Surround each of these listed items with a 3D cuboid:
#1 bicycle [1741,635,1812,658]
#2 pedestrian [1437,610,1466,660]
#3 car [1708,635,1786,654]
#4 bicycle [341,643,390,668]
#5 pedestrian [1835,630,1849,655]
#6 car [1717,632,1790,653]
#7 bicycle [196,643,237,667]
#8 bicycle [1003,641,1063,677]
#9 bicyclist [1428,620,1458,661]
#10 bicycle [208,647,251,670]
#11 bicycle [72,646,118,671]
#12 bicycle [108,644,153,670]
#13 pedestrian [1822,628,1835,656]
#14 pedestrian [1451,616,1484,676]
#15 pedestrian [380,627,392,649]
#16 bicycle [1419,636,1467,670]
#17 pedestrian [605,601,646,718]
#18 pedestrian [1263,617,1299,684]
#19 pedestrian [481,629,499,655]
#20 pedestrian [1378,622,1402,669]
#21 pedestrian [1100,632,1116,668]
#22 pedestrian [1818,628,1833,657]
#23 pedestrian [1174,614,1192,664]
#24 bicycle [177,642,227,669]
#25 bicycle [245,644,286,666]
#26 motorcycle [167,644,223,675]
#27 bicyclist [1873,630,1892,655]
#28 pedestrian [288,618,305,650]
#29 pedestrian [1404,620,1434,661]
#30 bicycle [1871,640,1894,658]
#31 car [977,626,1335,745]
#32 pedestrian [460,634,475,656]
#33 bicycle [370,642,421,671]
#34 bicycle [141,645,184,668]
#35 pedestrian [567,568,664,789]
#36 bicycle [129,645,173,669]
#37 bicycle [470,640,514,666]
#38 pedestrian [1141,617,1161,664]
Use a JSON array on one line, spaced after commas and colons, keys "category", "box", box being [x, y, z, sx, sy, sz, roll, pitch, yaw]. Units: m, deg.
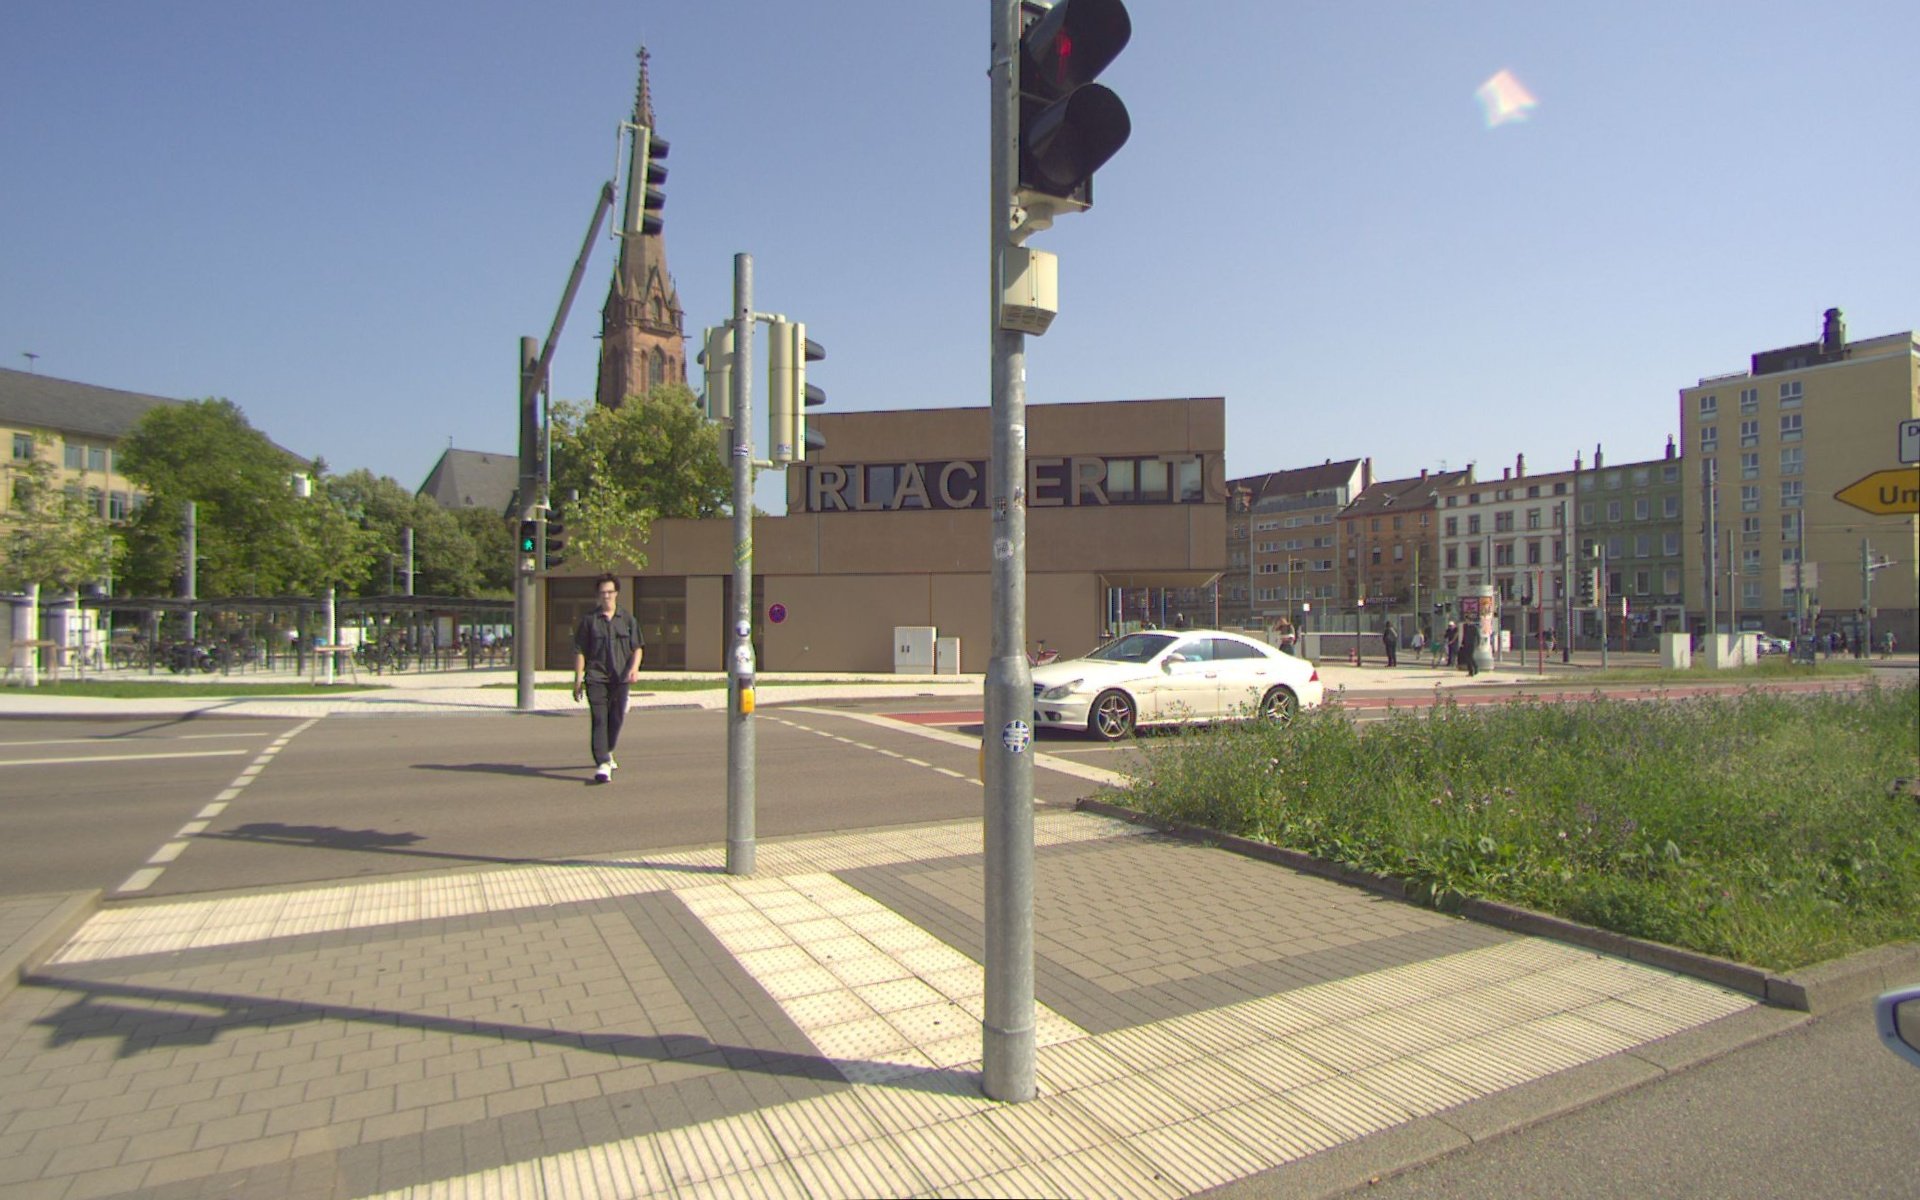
[{"category": "bicycle", "box": [61.097, 3.462, 75.199, 1.183, 1.572, 3.962, -2, 0, -34]}, {"category": "pedestrian", "box": [18.803, 1.342, 38.430, 0.867, 1.843, 0.893, -2, 0, 34]}, {"category": "car", "box": [52.764, 2.972, 67.394, 1.557, 1.195, 3.813, 4, -3, -29]}, {"category": "bicycle", "box": [-23.804, 2.217, 40.214, 1.837, 1.022, 0.462, -1, -2, 12]}, {"category": "pedestrian", "box": [53.994, 2.626, 61.508, 0.489, 1.507, 0.440, -2, 0, 19]}, {"category": "car", "box": [55.021, 2.933, 69.714, 1.569, 1.411, 3.717, 1, -2, -32]}, {"category": "bicycle", "box": [-30.634, 2.270, 41.395, 1.556, 0.990, 0.453, -1, 0, 12]}, {"category": "bicycle", "box": [2.008, 1.618, 27.649, 1.580, 0.968, 0.661, 0, 0, 10]}, {"category": "bicyclist", "box": [16.913, 1.407, 35.165, 0.872, 1.380, 0.560, -2, 2, -29]}, {"category": "bicycle", "box": [-28.816, 2.292, 39.617, 1.556, 0.904, 0.410, -1, -2, 12]}, {"category": "bicycle", "box": [-31.490, 2.138, 36.584, 1.556, 0.904, 0.401, 0, -2, 12]}, {"category": "bicycle", "box": [-31.245, 2.143, 37.831, 1.556, 0.980, 0.422, -1, -2, 12]}, {"category": "pedestrian", "box": [53.350, 2.570, 61.715, 0.447, 1.707, 0.440, -2, 0, 19]}, {"category": "pedestrian", "box": [15.544, 1.407, 30.779, 0.832, 1.802, 0.876, -2, 0, 25]}, {"category": "pedestrian", "box": [-32.570, 2.168, 57.014, 0.375, 1.240, 0.440, -2, 0, 13]}, {"category": "bicycle", "box": [16.931, 1.842, 35.186, 1.828, 1.078, 0.559, -2, 1, -29]}, {"category": "pedestrian", "box": [-5.444, 0.959, 16.371, 0.561, 1.857, 0.693, 0, -1, -14]}, {"category": "pedestrian", "box": [8.719, 1.368, 27.252, 0.668, 1.783, 0.875, -1, -2, 36]}, {"category": "pedestrian", "box": [-25.447, 2.286, 54.407, 0.631, 1.413, 0.662, 0, -2, 10]}, {"category": "pedestrian", "box": [14.978, 1.562, 34.985, 0.500, 1.601, 0.497, -2, 0, -18]}, {"category": "pedestrian", "box": [5.025, 1.692, 34.025, 0.513, 1.187, 0.596, 0, -2, 10]}, {"category": "pedestrian", "box": [52.597, 2.572, 61.052, 0.539, 1.707, 0.454, -2, 0, -21]}, {"category": "pedestrian", "box": [8.234, 1.425, 37.081, 0.547, 1.843, 0.392, 0, -1, -7]}, {"category": "bicycle", "box": [-29.168, 2.135, 38.658, 1.679, 1.000, 0.534, -1, -2, 12]}, {"category": "bicycle", "box": [-28.250, 2.242, 40.881, 1.556, 0.904, 0.410, -1, -2, 12]}, {"category": "motorcycle", "box": [-26.138, 2.036, 34.334, 1.710, 1.022, 0.543, -1, -2, 12]}, {"category": "bicyclist", "box": [54.440, 2.522, 59.275, 0.683, 1.453, 0.720, 1, -2, -37]}, {"category": "pedestrian", "box": [-37.380, 1.926, 56.563, 0.384, 1.771, 0.713, -2, -2, 44]}, {"category": "pedestrian", "box": [23.241, 2.031, 50.885, 1.010, 2.040, 0.953, -2, 0, -33]}, {"category": "bicycle", "box": [54.395, 2.872, 59.229, 1.716, 0.997, 0.722, 1, -2, -37]}, {"category": "car", "box": [2.770, 1.120, 13.931, 4.757, 1.379, 1.835, 2, -1, -27]}, {"category": "pedestrian", "box": [-26.932, 2.467, 54.886, 0.562, 1.213, 0.468, -1, -2, 13]}, {"category": "bicycle", "box": [-20.048, 2.001, 35.676, 1.710, 1.022, 0.401, -1, -2, 12]}, {"category": "bicycle", "box": [-31.101, 2.204, 39.150, 1.556, 0.904, 0.410, -1, -2, 12]}, {"category": "pedestrian", "box": [-3.150, 0.674, 9.136, 0.720, 1.864, 1.076, 1, -1, -24]}, {"category": "bicycle", "box": [-31.054, 2.178, 38.554, 1.556, 0.904, 0.401, -1, -2, 12]}, {"category": "bicycle", "box": [-18.986, 2.153, 40.749, 1.710, 1.022, 0.401, -1, -2, 12]}, {"category": "pedestrian", "box": [7.197, 1.527, 37.856, 0.595, 1.718, 0.533, -2, 0, 1]}]
